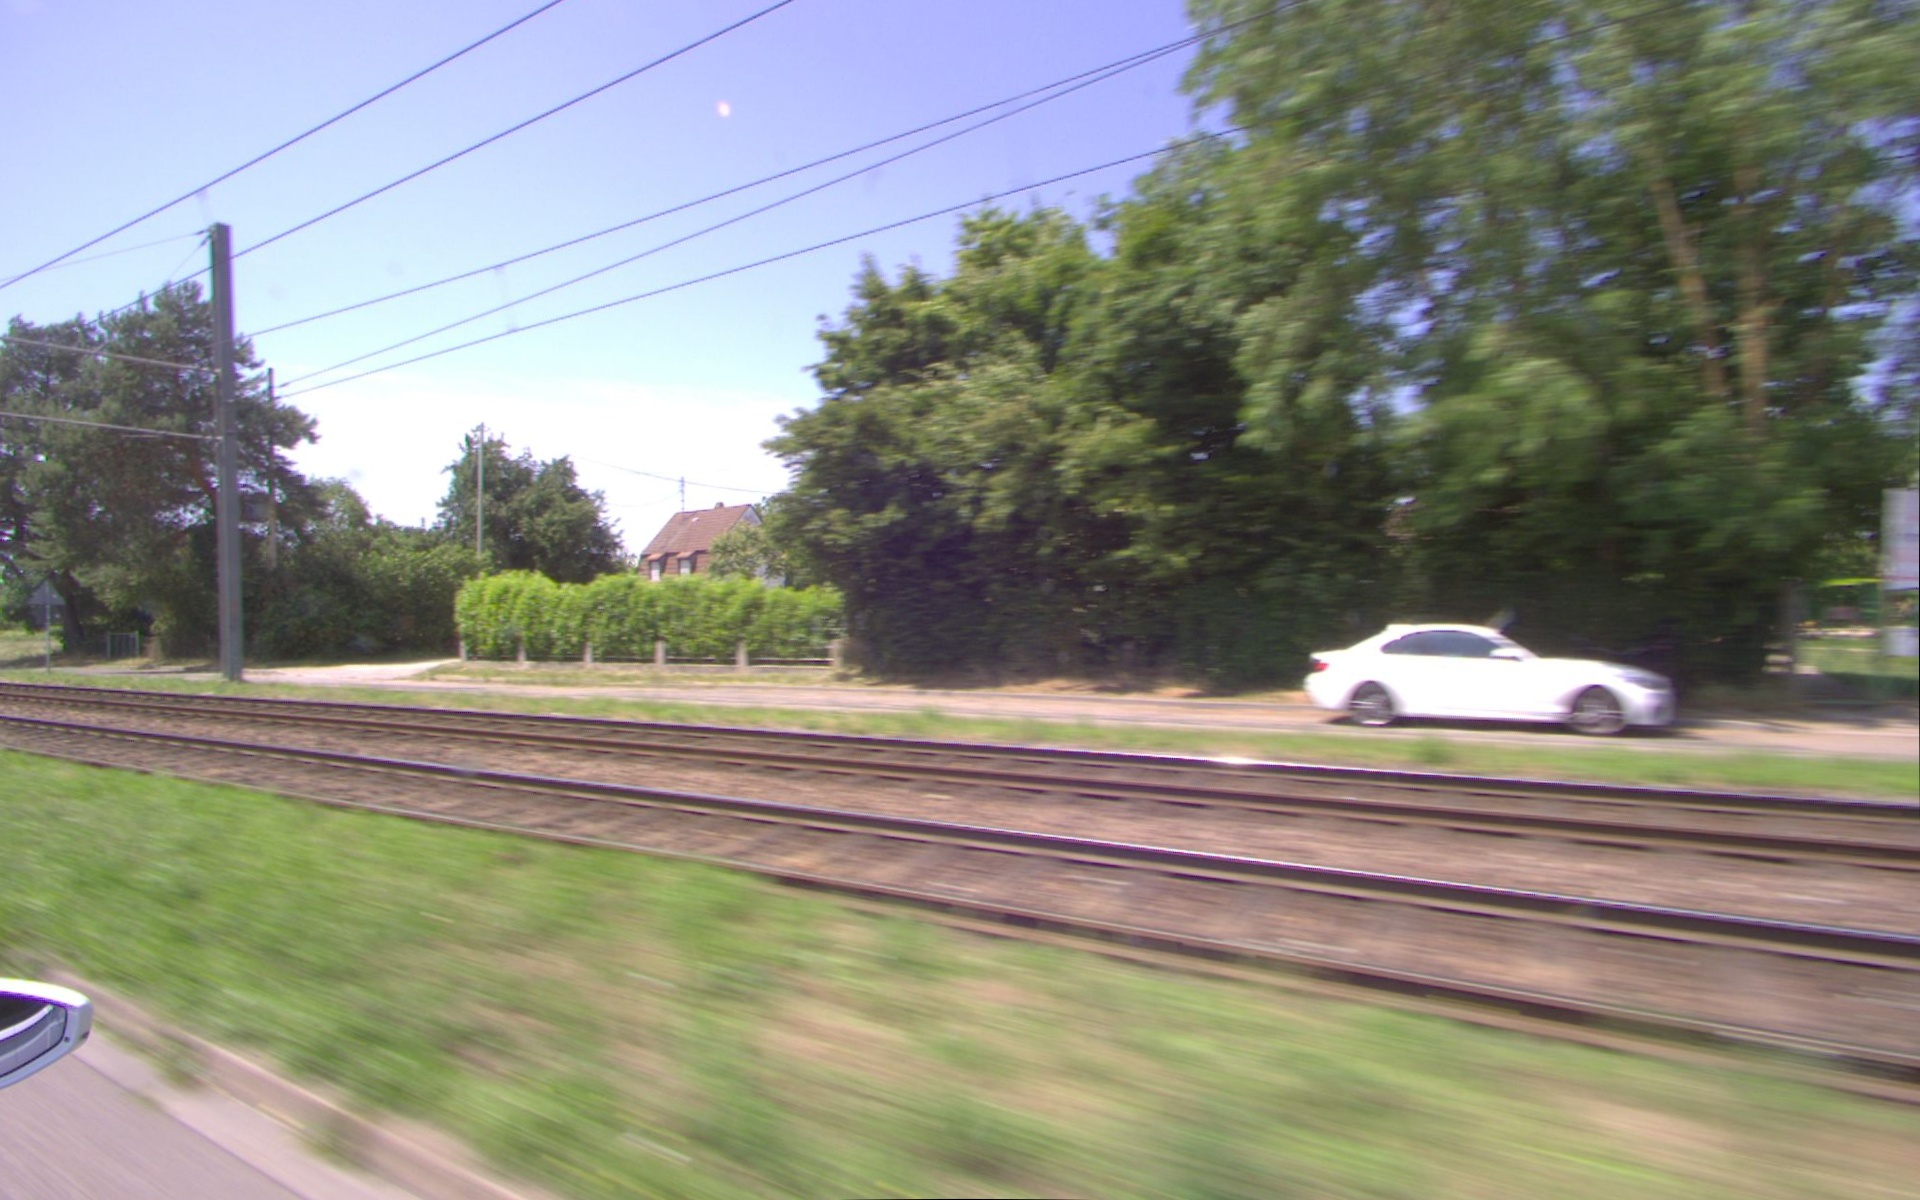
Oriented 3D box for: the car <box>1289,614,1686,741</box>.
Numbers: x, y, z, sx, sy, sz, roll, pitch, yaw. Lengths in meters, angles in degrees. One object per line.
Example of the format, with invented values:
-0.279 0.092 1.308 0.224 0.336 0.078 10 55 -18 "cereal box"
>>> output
7.112 1.004 13.840 4.564 1.469 1.793 -2 -1 32 "car"
